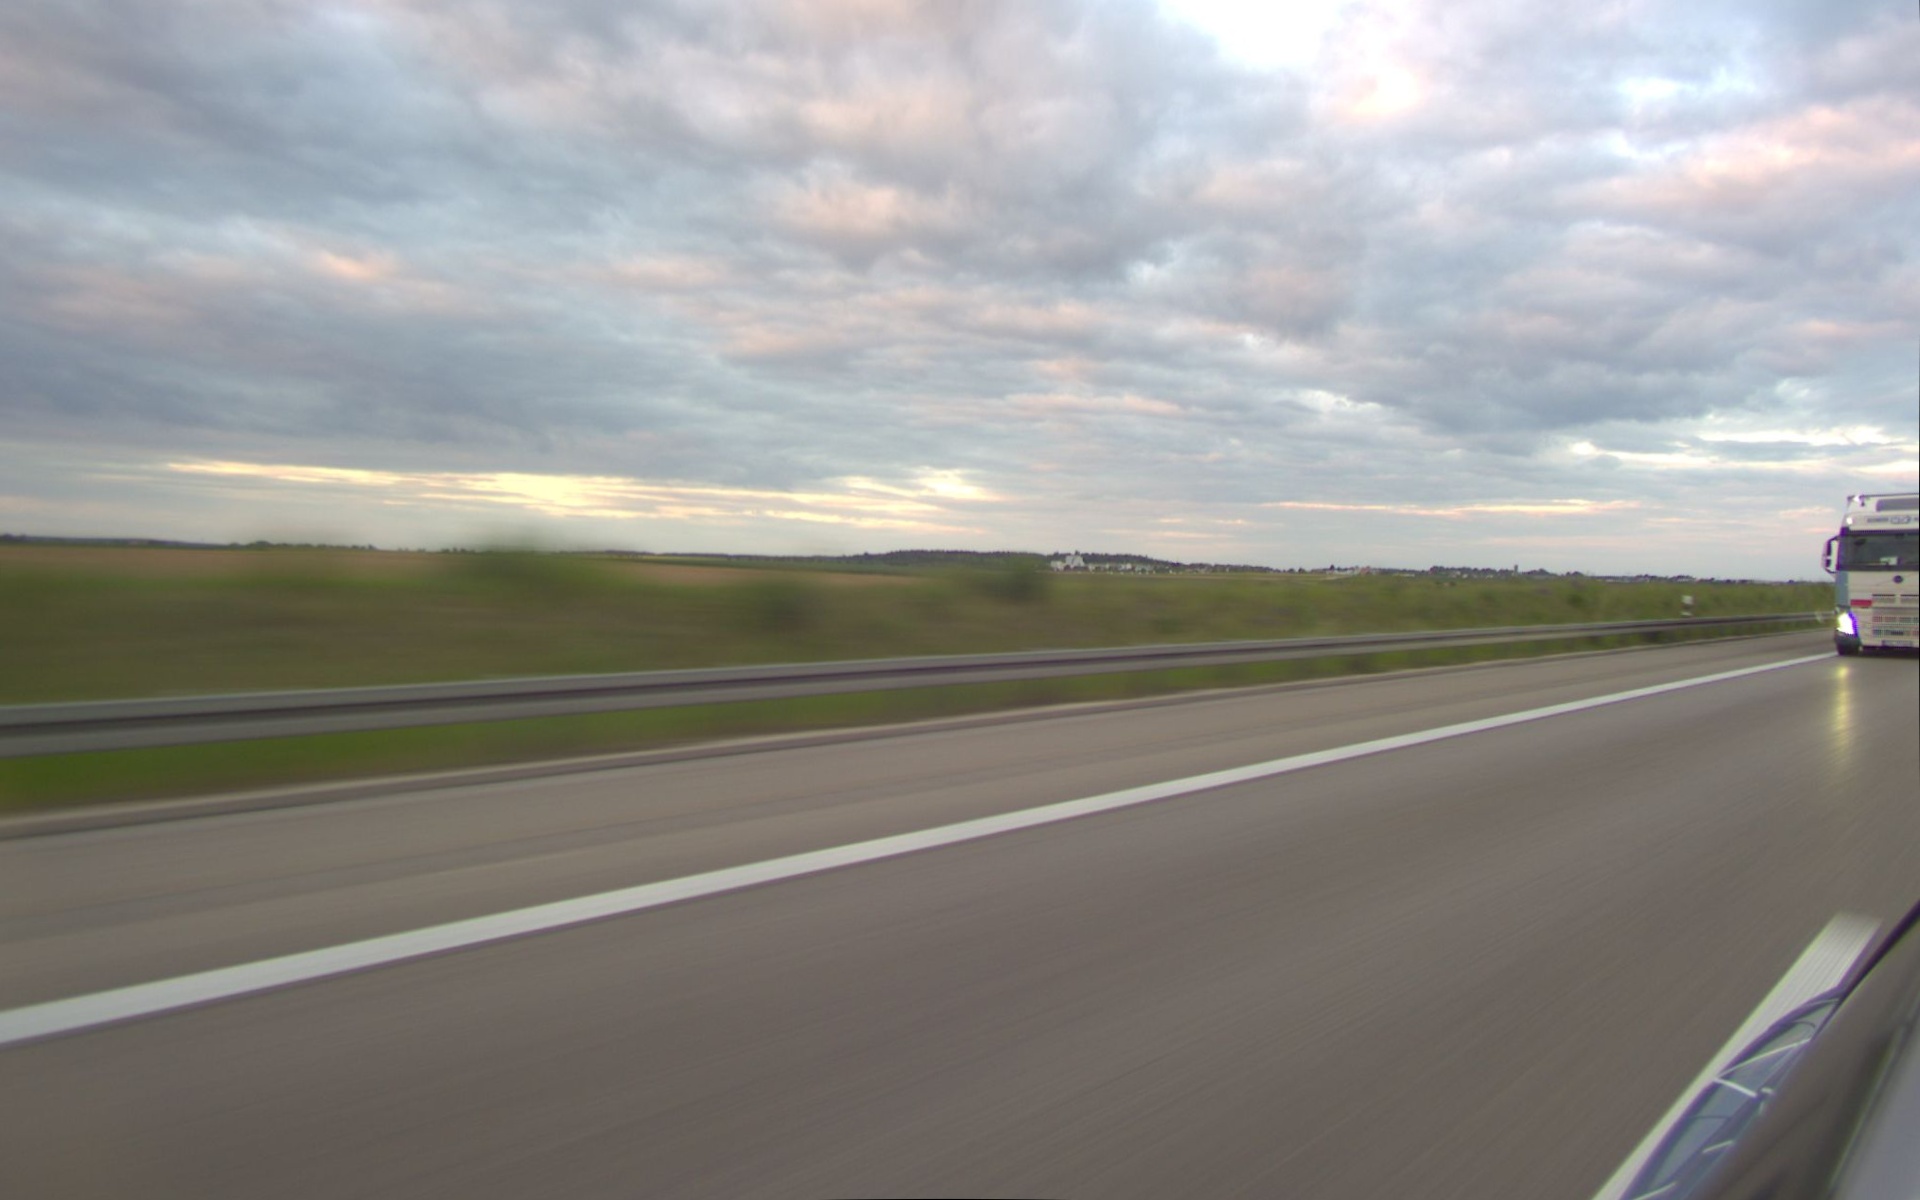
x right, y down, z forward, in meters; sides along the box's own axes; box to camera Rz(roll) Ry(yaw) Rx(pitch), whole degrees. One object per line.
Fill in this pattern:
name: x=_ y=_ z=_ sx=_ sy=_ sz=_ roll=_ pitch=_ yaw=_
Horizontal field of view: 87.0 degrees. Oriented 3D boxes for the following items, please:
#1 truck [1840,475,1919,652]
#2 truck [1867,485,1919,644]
truck: x=24.250 y=-0.851 z=25.239 sx=5.756 sy=4.073 sz=2.595 roll=0 pitch=1 yaw=-40
truck: x=29.626 y=-0.911 z=29.832 sx=12.756 sy=4.073 sz=2.595 roll=0 pitch=1 yaw=-41
